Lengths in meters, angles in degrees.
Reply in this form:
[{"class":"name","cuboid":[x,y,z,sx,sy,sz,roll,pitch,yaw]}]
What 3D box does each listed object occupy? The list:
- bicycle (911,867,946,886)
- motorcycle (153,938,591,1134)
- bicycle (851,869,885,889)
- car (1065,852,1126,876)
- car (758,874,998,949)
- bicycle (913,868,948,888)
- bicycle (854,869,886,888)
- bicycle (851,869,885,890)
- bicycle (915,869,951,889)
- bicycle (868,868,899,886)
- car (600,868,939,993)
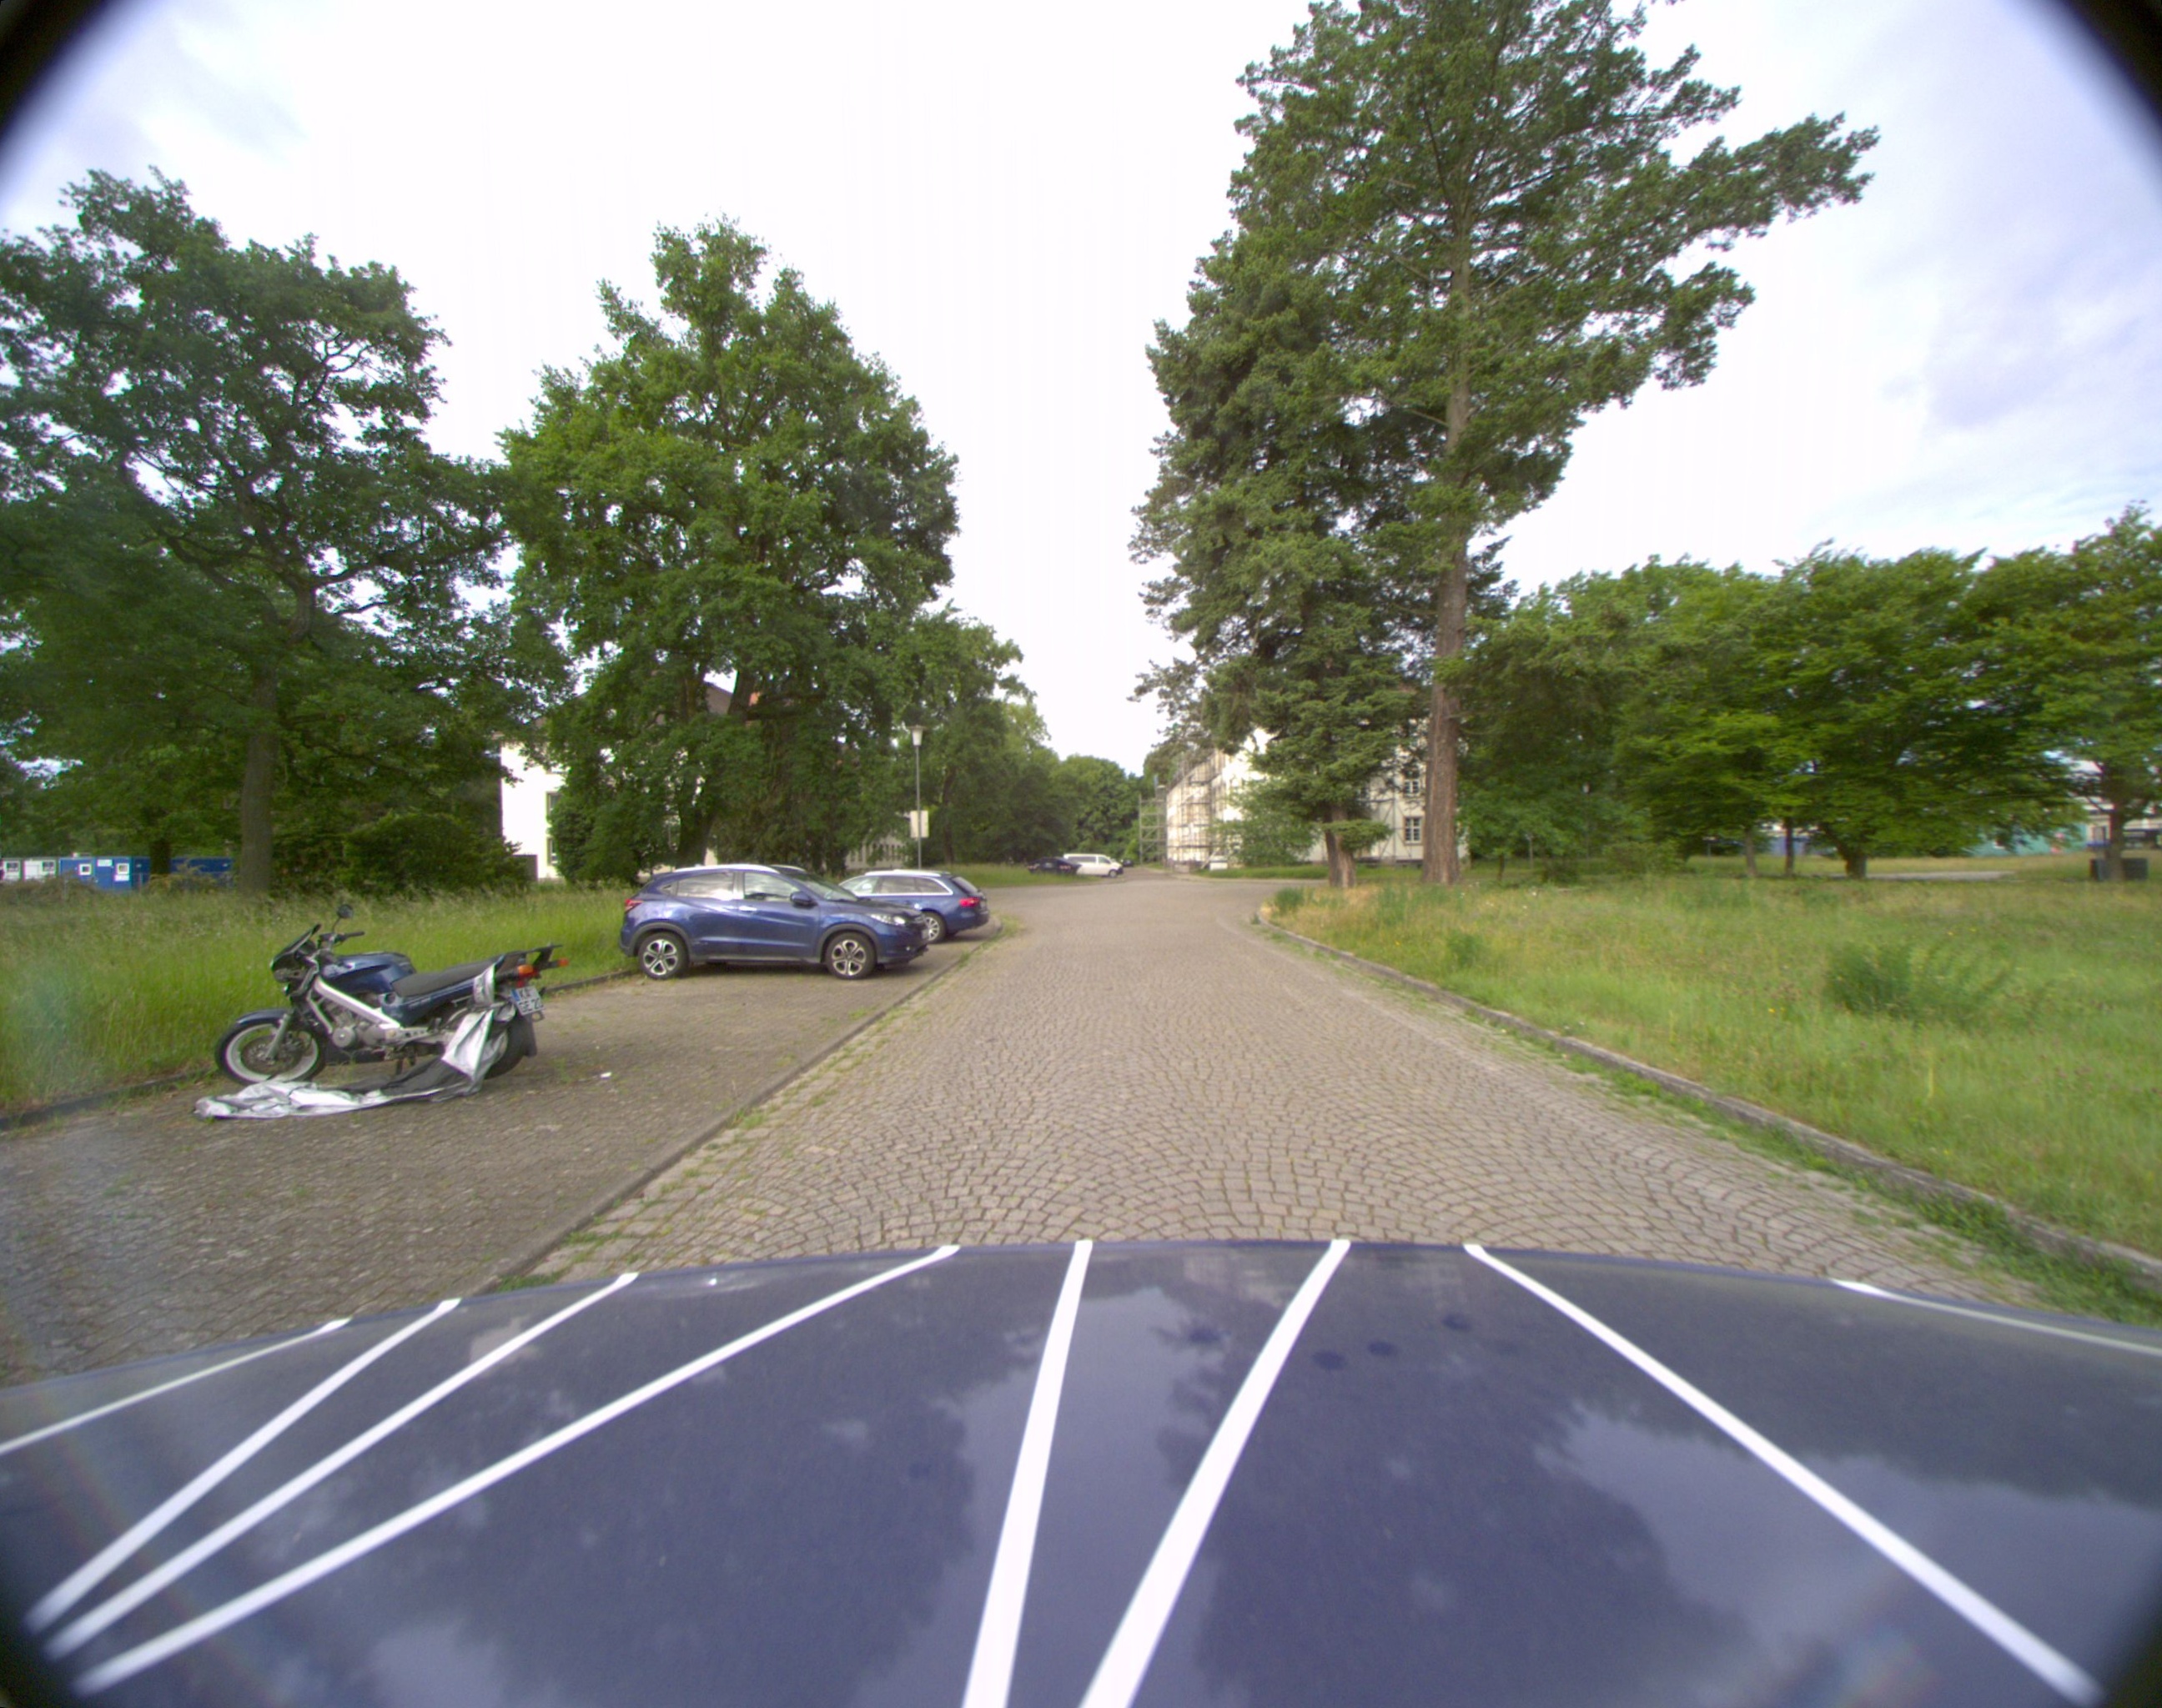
[{"class":"bicycle","cuboid":[-9.678,1.413,48.199,2.032,1.070,0.621,-2,1,-22]},{"class":"motorcycle","cuboid":[-4.938,1.247,5.425,2.333,1.179,0.795,0,1,-1]},{"class":"bicycle","cuboid":[-12.755,1.505,45.411,1.859,1.116,0.621,-2,1,-22]},{"class":"car","cuboid":[1.183,0.809,64.584,5.100,2.007,2.055,0,0,0]},{"class":"car","cuboid":[-4.115,1.156,15.828,4.479,1.413,1.785,0,0,4]},{"class":"bicycle","cuboid":[-9.146,1.447,46.082,1.976,1.070,0.587,-2,1,-26]},{"class":"bicycle","cuboid":[-13.079,1.513,47.078,1.859,1.116,0.621,-2,1,-22]},{"class":"bicycle","cuboid":[-12.567,1.500,44.797,1.859,1.116,0.621,-2,1,-22]},{"class":"bicycle","cuboid":[-8.663,1.468,44.491,1.976,1.070,0.587,-2,1,-26]},{"class":"bicycle","cuboid":[-12.827,1.486,49.293,1.859,1.116,0.621,-2,1,-22]},{"class":"car","cuboid":[-4.370,1.053,11.133,4.172,1.562,1.793,-1,1,1]}]
